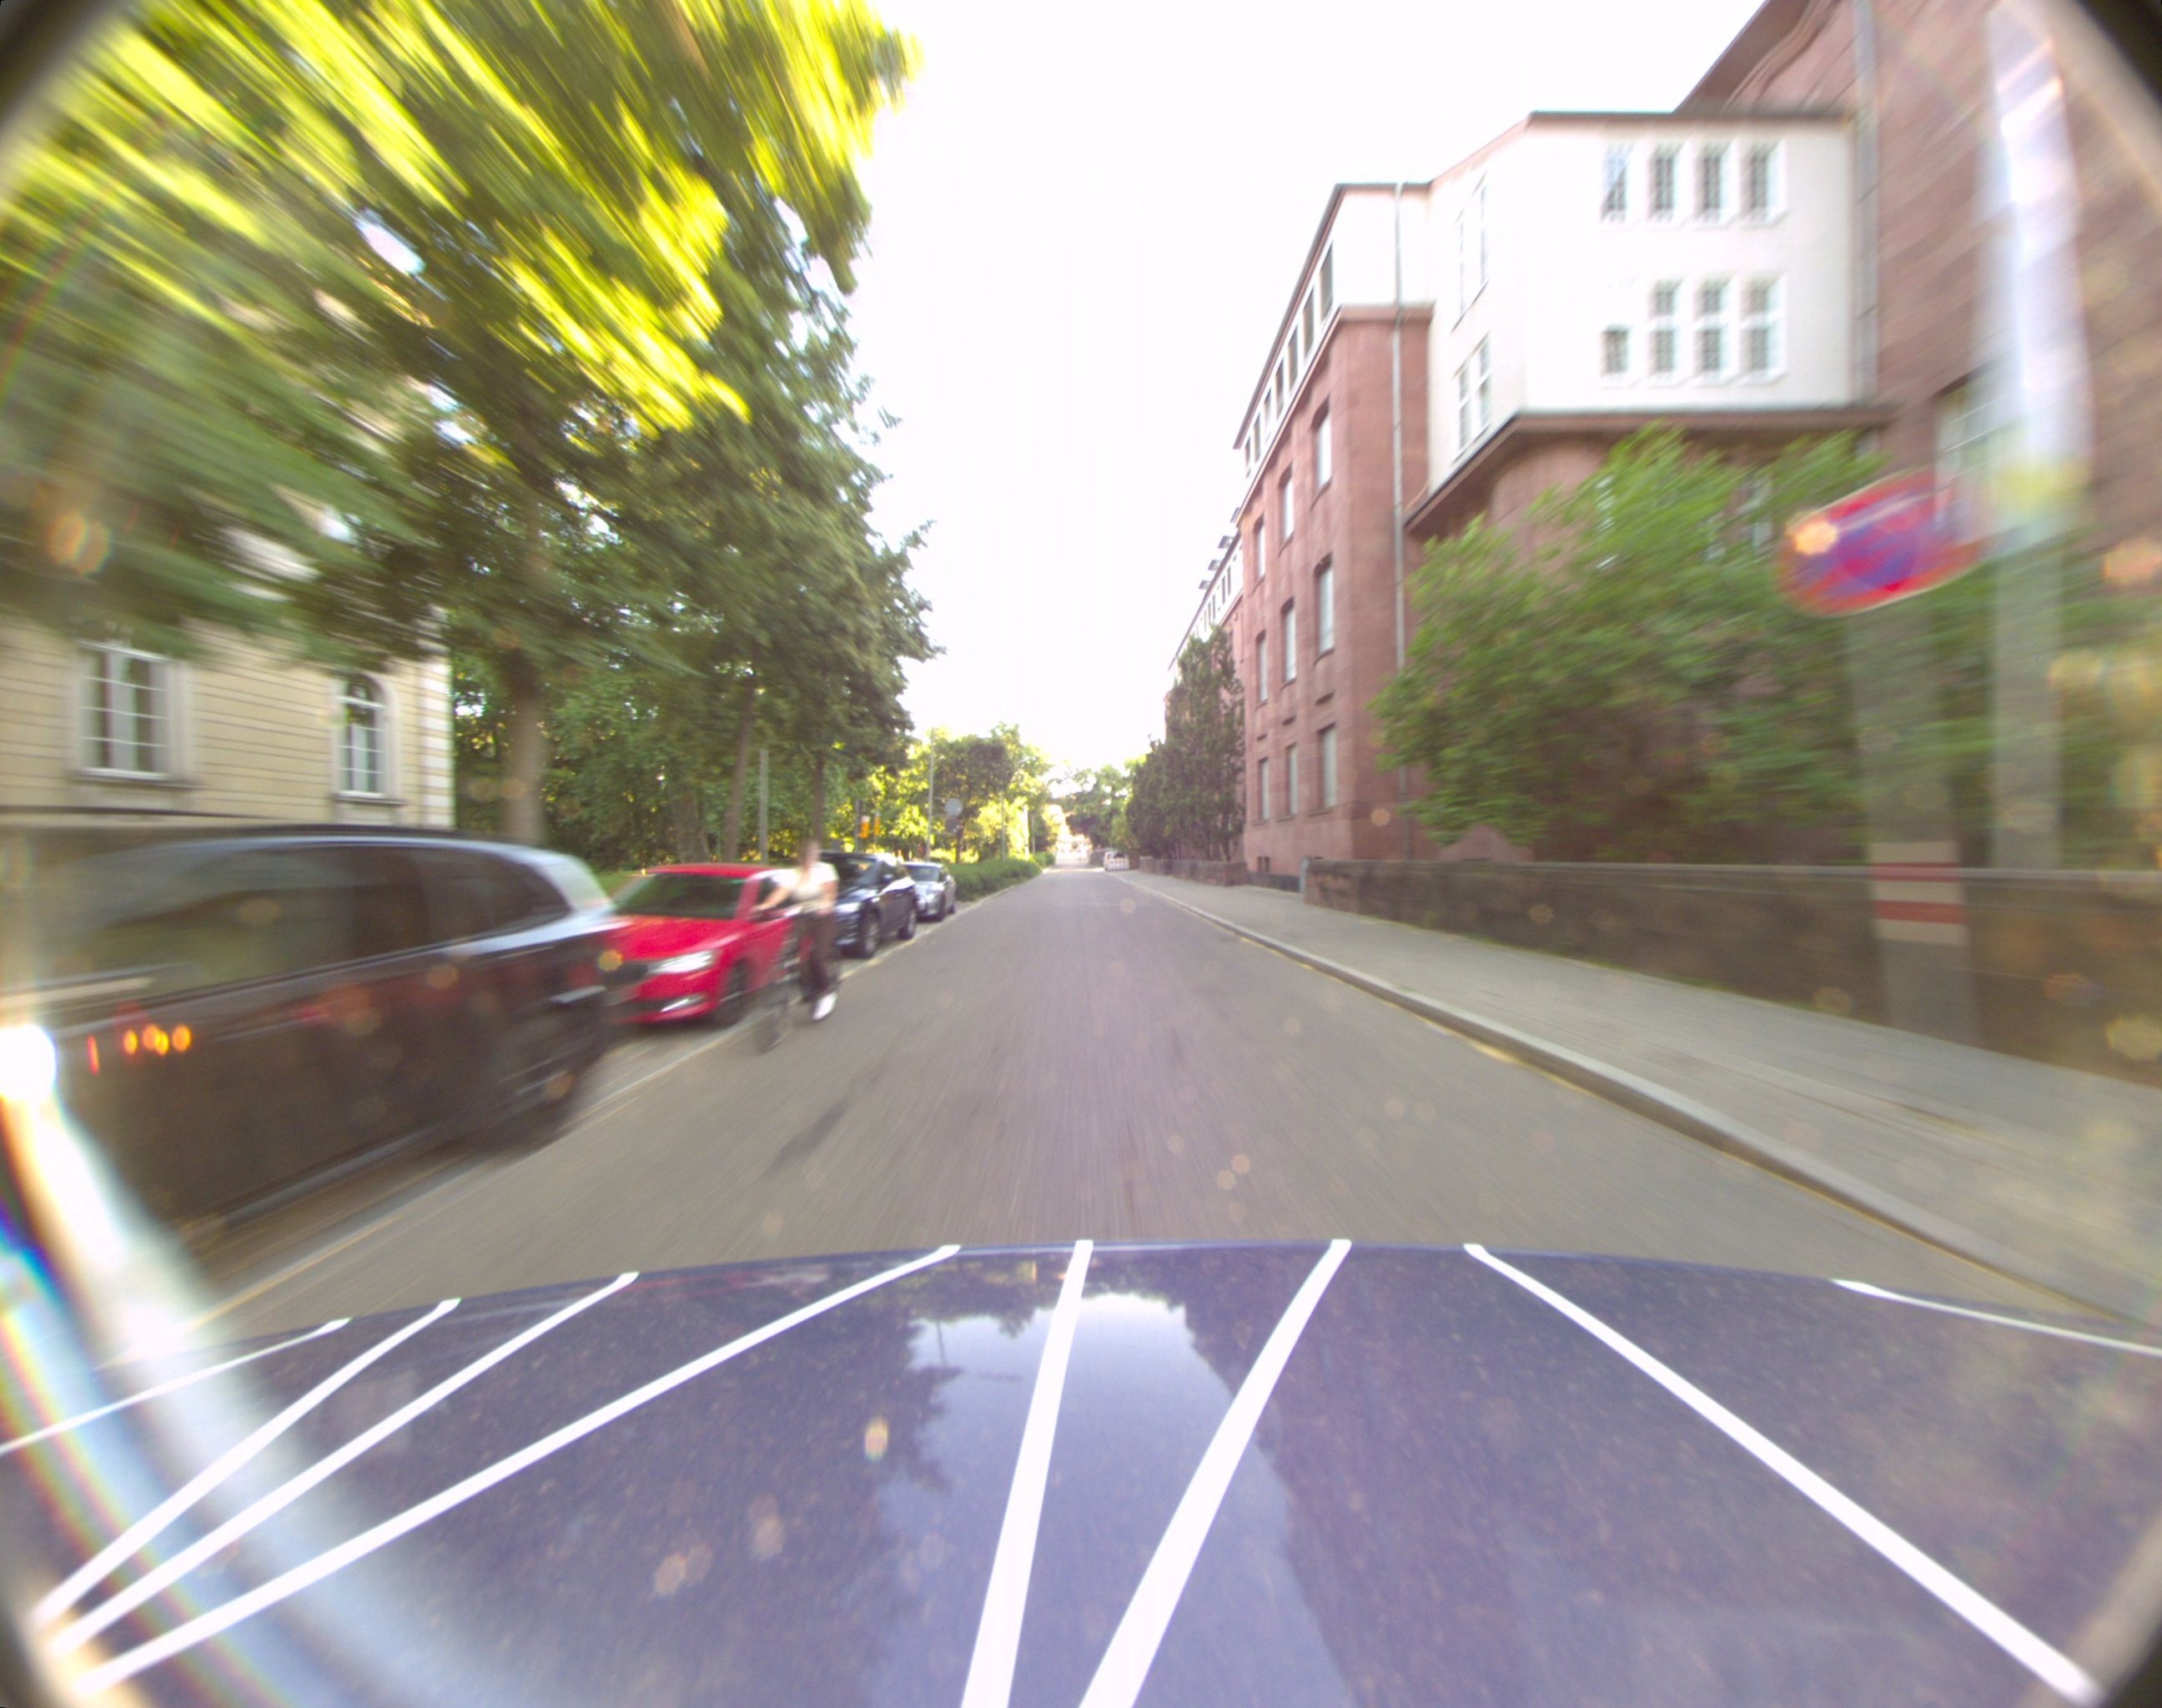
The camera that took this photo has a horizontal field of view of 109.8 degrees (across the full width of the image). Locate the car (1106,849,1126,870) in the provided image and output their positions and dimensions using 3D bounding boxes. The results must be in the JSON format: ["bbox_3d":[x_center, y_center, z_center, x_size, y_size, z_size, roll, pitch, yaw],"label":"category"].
[{"bbox_3d":[3.616,0.557,79.208,1.886,2.040,4.323,0,1,-1],"label":"car"}]

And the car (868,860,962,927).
[{"bbox_3d":[-4.180,0.929,19.680,1.729,1.430,3.998,0,1,-3],"label":"car"}]

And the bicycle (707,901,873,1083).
[{"bbox_3d":[-2.534,1.126,6.935,0.753,1.245,2.209,0,0,-3],"label":"bicycle"}]

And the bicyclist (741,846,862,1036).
[{"bbox_3d":[-2.514,0.739,6.951,0.753,1.603,1.038,0,0,-3],"label":"bicyclist"}]

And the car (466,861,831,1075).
[{"bbox_3d":[-4.082,0.921,8.037,1.729,1.580,3.967,0,1,-3],"label":"car"}]

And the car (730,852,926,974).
[{"bbox_3d":[-4.122,0.848,13.317,1.886,1.678,4.693,0,1,-1],"label":"car"}]

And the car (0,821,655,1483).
[{"bbox_3d":[-3.835,0.806,2.601,1.809,1.803,4.947,0,1,2],"label":"car"}]
